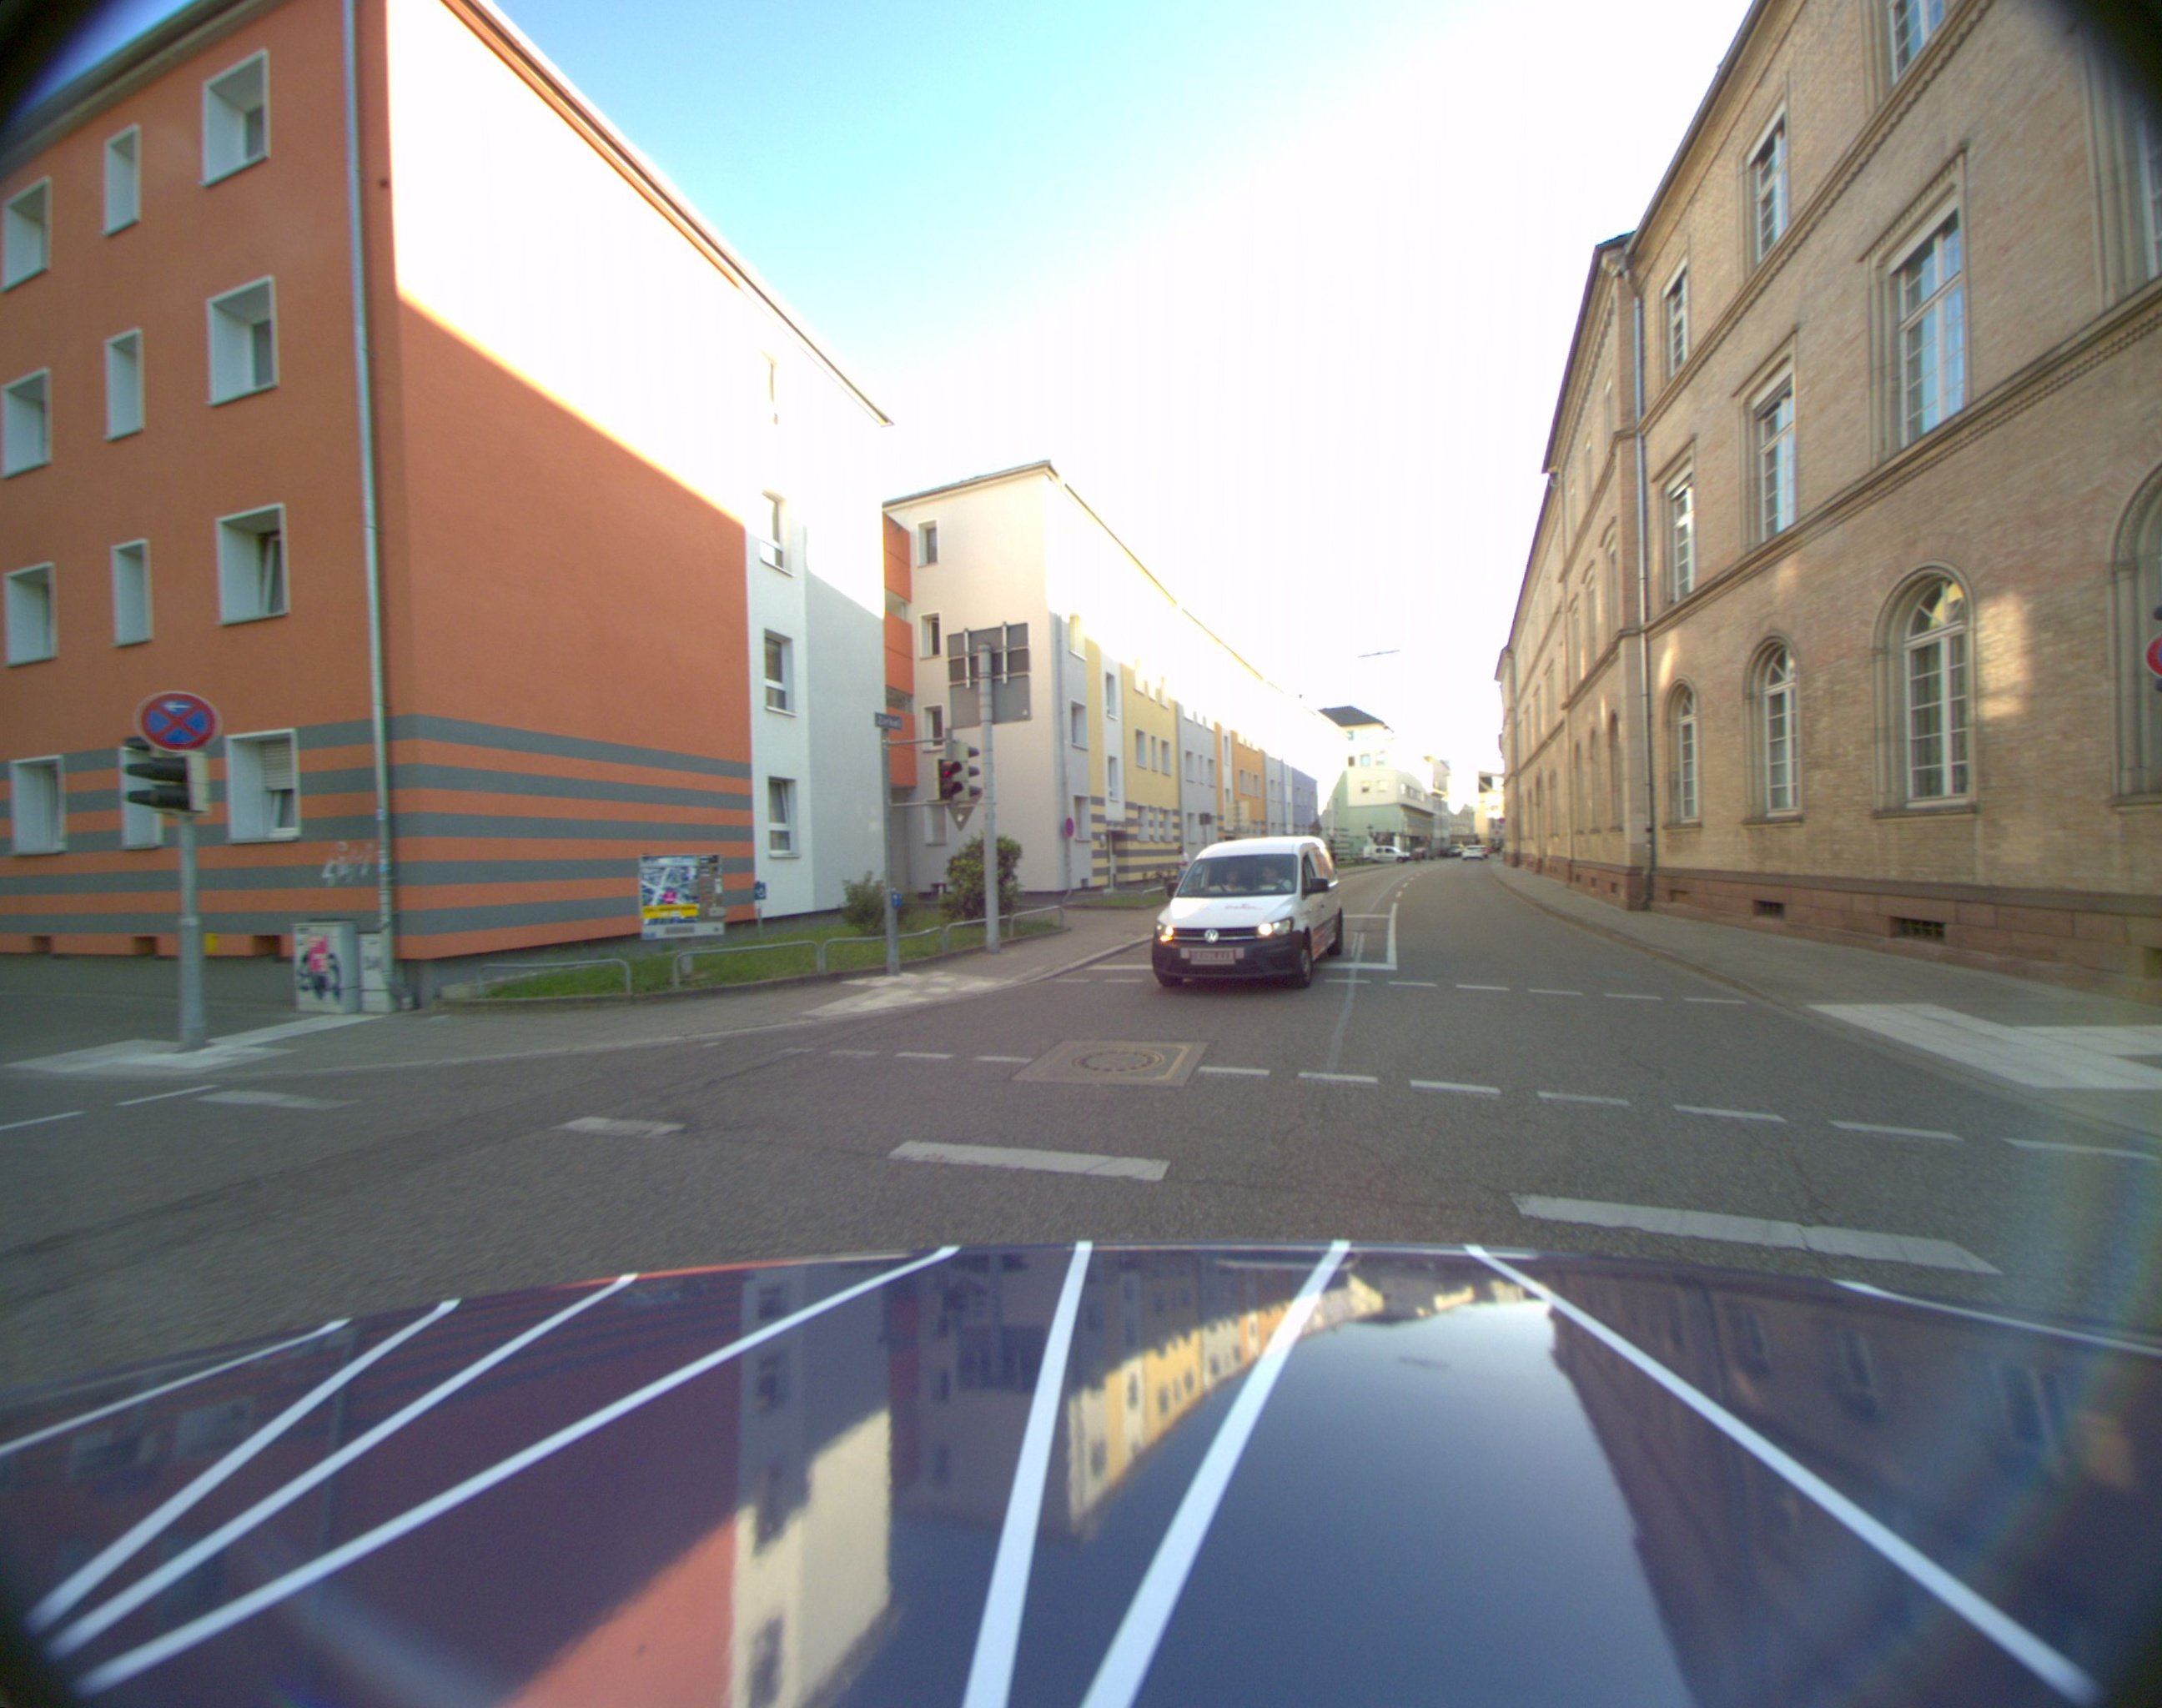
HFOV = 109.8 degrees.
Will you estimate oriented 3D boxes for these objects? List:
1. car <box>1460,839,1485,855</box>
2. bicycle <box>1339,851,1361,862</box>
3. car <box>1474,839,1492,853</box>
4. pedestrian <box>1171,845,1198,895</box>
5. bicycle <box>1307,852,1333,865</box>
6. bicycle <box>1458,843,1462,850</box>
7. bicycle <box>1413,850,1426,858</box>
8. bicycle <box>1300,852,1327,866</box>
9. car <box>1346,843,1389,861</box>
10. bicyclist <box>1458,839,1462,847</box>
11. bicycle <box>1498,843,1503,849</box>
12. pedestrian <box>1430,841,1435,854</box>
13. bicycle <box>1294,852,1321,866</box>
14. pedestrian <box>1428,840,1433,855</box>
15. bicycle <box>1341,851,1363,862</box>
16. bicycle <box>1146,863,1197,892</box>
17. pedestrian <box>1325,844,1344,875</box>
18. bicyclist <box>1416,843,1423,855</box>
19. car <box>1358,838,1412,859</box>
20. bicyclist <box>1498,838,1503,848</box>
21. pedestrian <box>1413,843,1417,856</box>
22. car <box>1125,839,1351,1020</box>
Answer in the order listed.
[{"bbox_3d":[39.260,-0.736,76.132,1.887,1.467,4.553,1,2,31],"label":"car"},{"bbox_3d":[23.502,0.247,66.337,1.773,0.934,0.585,0,2,30],"label":"bicycle"},{"bbox_3d":[47.498,-0.934,89.710,1.686,1.573,4.282,1,1,31],"label":"car"},{"bbox_3d":[3.510,0.524,25.758,0.643,1.662,0.835,-1,1,24],"label":"pedestrian"},{"bbox_3d":[17.476,0.351,55.563,1.773,0.934,0.585,0,2,30],"label":"bicycle"},{"bbox_3d":[57.466,-1.162,115.216,0.548,1.076,1.967,-2,1,29],"label":"bicycle"},{"bbox_3d":[31.250,-0.015,70.116,1.119,0.719,0.348,-2,1,-22],"label":"bicycle"},{"bbox_3d":[16.877,0.334,55.148,1.773,0.990,0.585,0,2,30],"label":"bicycle"},{"bbox_3d":[30.960,-0.213,82.101,3.990,1.681,1.904,-4,0,28],"label":"car"},{"bbox_3d":[57.517,-1.720,115.339,0.548,1.204,0.585,-2,1,29],"label":"bicyclist"},{"bbox_3d":[62.936,-1.163,113.927,0.608,0.922,2.268,-2,0,27],"label":"bicycle"},{"bbox_3d":[41.108,-0.764,88.844,0.507,1.551,0.412,-2,1,28],"label":"pedestrian"},{"bbox_3d":[16.099,0.374,54.019,1.773,0.990,0.585,0,2,30],"label":"bicycle"},{"bbox_3d":[39.758,-0.737,86.418,0.507,1.752,0.412,-2,1,28],"label":"pedestrian"},{"bbox_3d":[24.177,0.250,67.724,1.773,0.934,0.585,0,2,30],"label":"bicycle"},{"bbox_3d":[3.307,0.845,27.806,1.774,1.043,0.584,0,2,19],"label":"bicycle"},{"bbox_3d":[13.526,0.295,40.579,0.767,1.610,0.936,-2,1,27],"label":"pedestrian"},{"bbox_3d":[31.235,-0.483,70.114,0.368,1.101,0.348,-2,1,-22],"label":"bicyclist"},{"bbox_3d":[31.116,-0.542,77.833,4.756,1.927,2.004,-2,0,32],"label":"car"},{"bbox_3d":[62.891,-1.654,113.883,0.603,1.434,0.579,-2,1,27],"label":"bicyclist"},{"bbox_3d":[38.532,-0.519,87.653,0.371,1.546,0.404,-1,1,31],"label":"pedestrian"},{"bbox_3d":[2.473,0.749,10.482,1.816,1.825,5.350,-2,0,25],"label":"car"}]
